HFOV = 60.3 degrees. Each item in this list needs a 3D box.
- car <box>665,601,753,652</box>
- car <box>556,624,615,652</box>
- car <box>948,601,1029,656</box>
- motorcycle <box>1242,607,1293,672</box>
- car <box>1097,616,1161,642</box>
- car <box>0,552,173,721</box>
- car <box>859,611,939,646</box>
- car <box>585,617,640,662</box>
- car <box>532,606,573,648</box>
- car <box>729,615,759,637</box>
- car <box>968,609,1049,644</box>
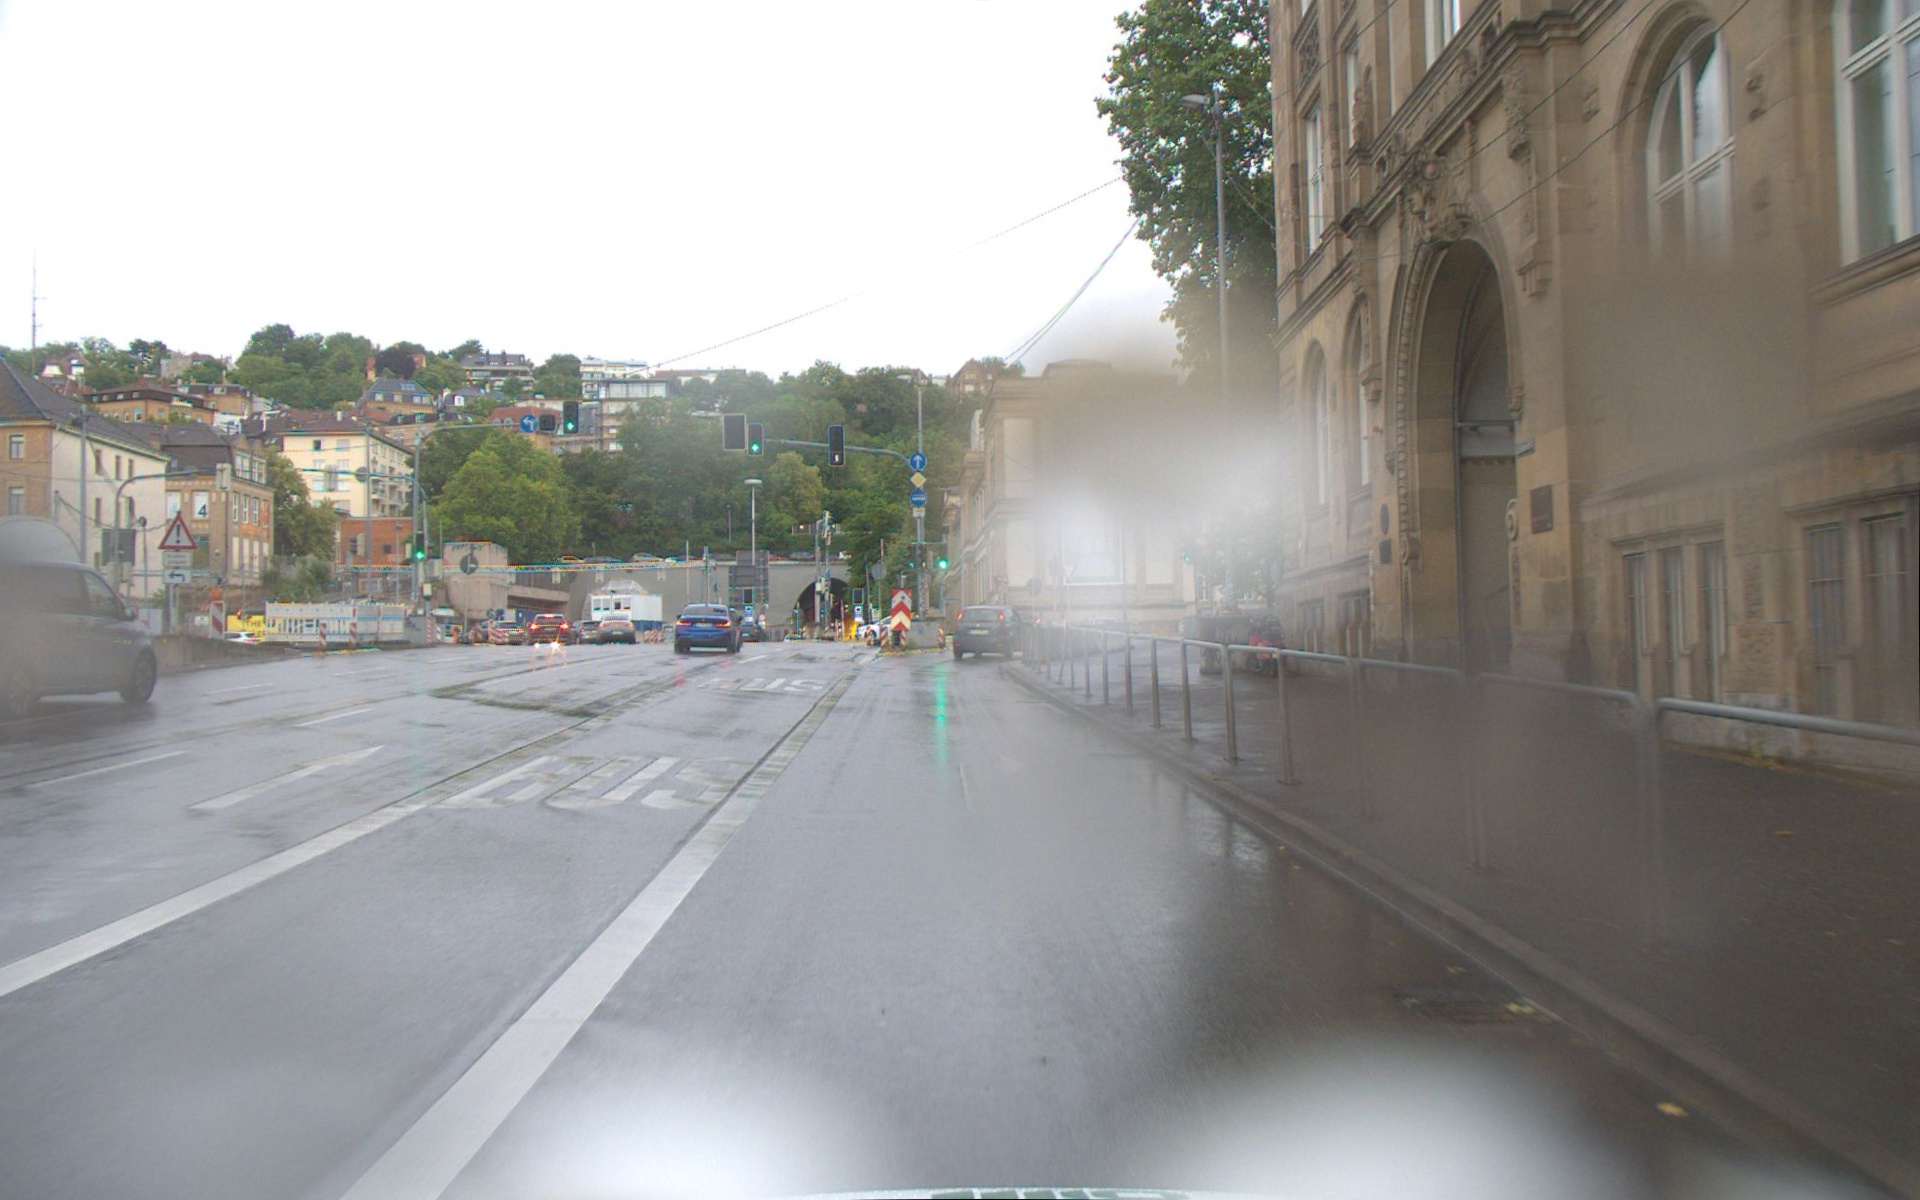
[{"bbox_3d":[-7.517,0.769,49.830,1.952,1.464,4.000,-1,0,1],"label":"car"},{"bbox_3d":[-21.356,2.120,94.152,1.764,1.489,3.945,0,0,-38],"label":"car"},{"bbox_3d":[0.840,0.754,46.039,1.634,1.452,3.761,1,0,10],"label":"car"},{"bbox_3d":[5.689,0.707,30.664,0.535,1.158,1.898,-1,0,-2],"label":"motorcycle"},{"bbox_3d":[11.360,1.931,111.191,4.096,1.730,1.822,0,0,-2],"label":"car"},{"bbox_3d":[-11.666,0.430,20.214,1.953,1.871,4.681,0,-1,-2],"label":"car"},{"bbox_3d":[-3.605,1.659,97.000,4.537,2.049,1.997,0,0,-6],"label":"car"},{"bbox_3d":[-16.901,1.883,80.345,1.965,2.049,4.267,0,0,-21],"label":"car"},{"bbox_3d":[-18.180,1.176,73.890,1.746,1.780,3.986,0,0,-14],"label":"car"},{"bbox_3d":[-13.988,1.674,107.239,1.463,1.378,3.999,1,0,-1],"label":"car"},{"bbox_3d":[2.828,1.545,97.826,4.585,2.049,1.997,0,0,-6],"label":"car"}]
